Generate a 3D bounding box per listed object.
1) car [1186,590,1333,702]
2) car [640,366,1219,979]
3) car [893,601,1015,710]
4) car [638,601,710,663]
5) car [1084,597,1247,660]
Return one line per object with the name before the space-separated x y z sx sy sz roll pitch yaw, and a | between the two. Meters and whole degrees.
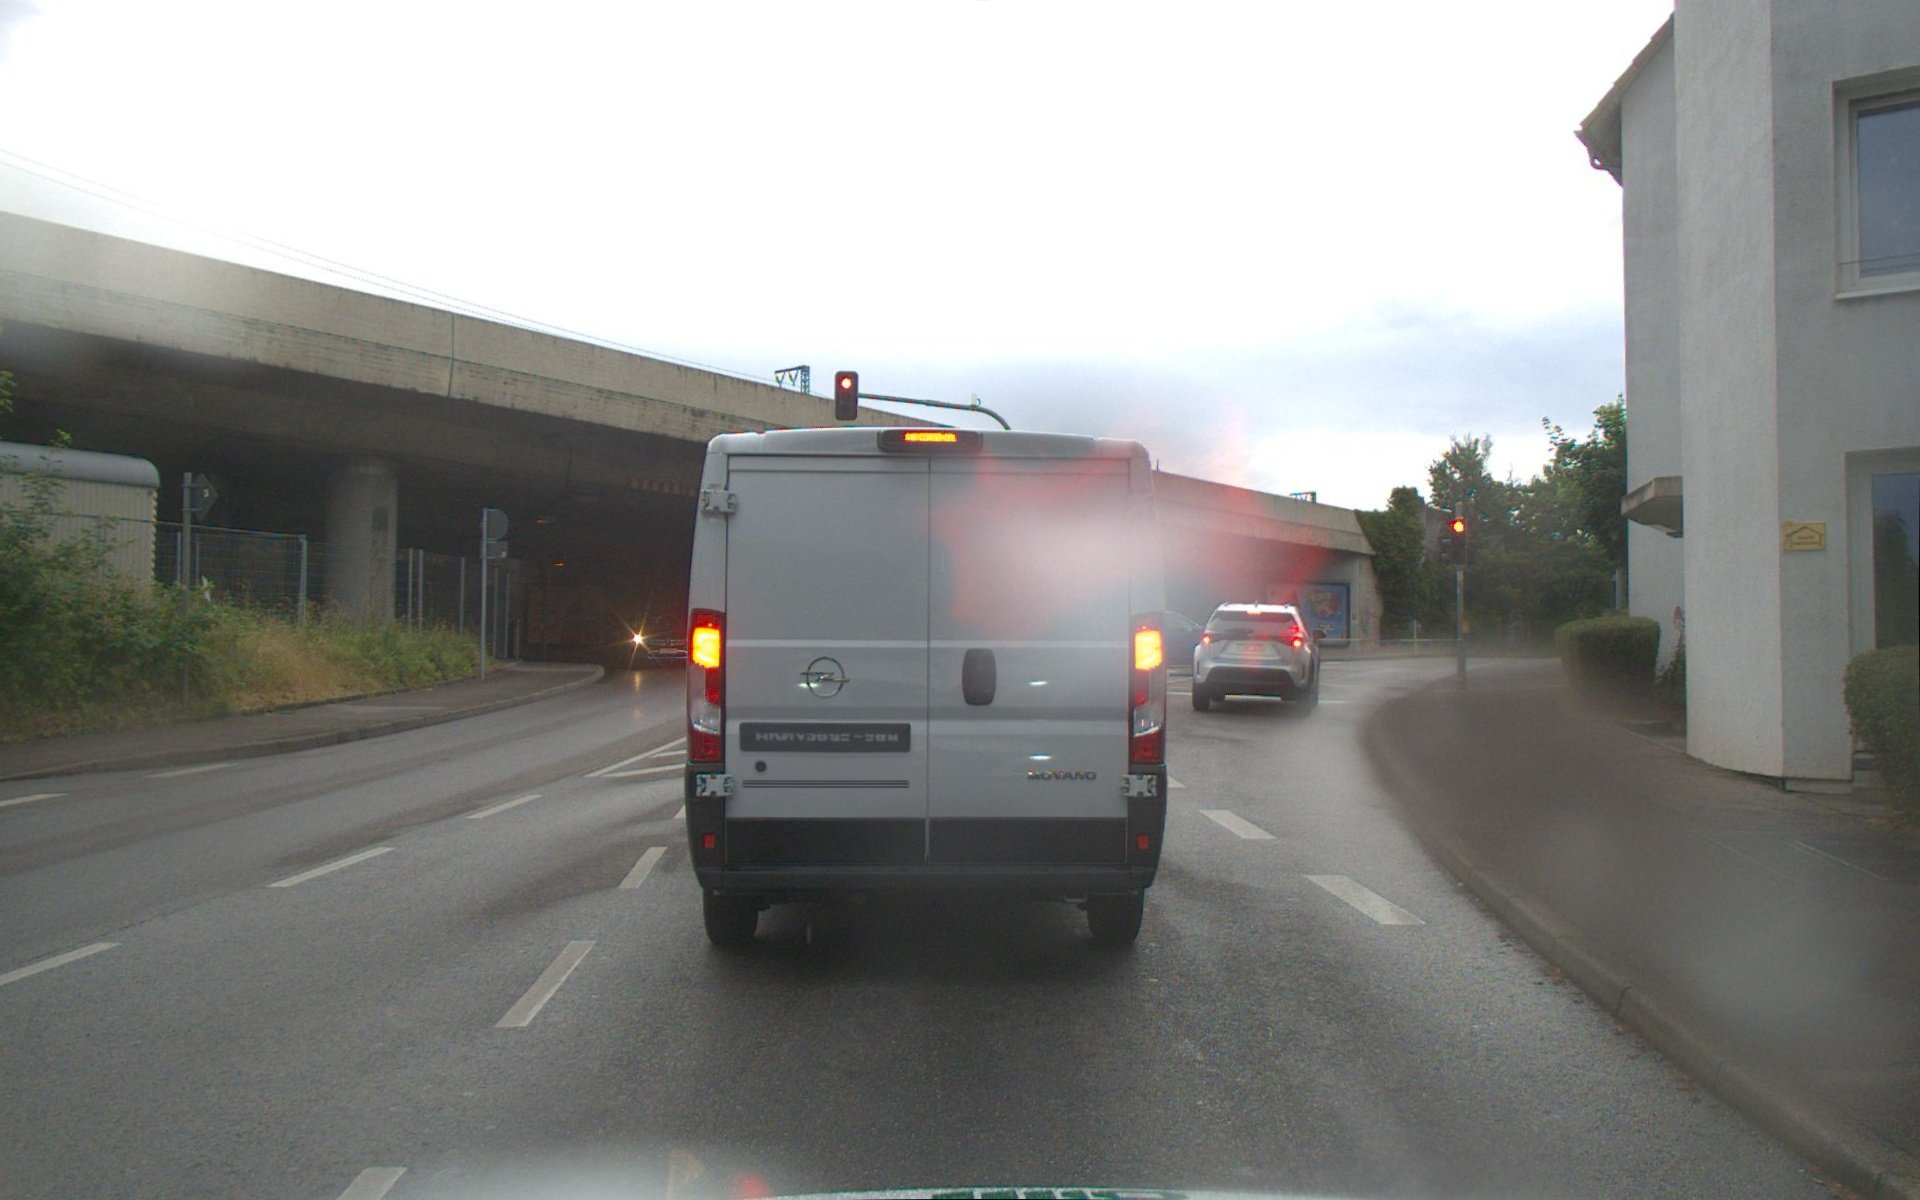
car | 4.664 0.702 25.332 1.951 1.576 4.002 0 -2 14
car | -0.114 0.349 9.175 2.258 2.384 5.281 1 -2 0
car | -0.029 0.952 28.761 1.952 1.759 4.000 0 -2 2
car | -8.000 0.879 46.461 1.879 1.655 4.425 0 0 -9
car | 5.198 0.744 42.172 3.906 1.545 1.999 0 -2 -1
